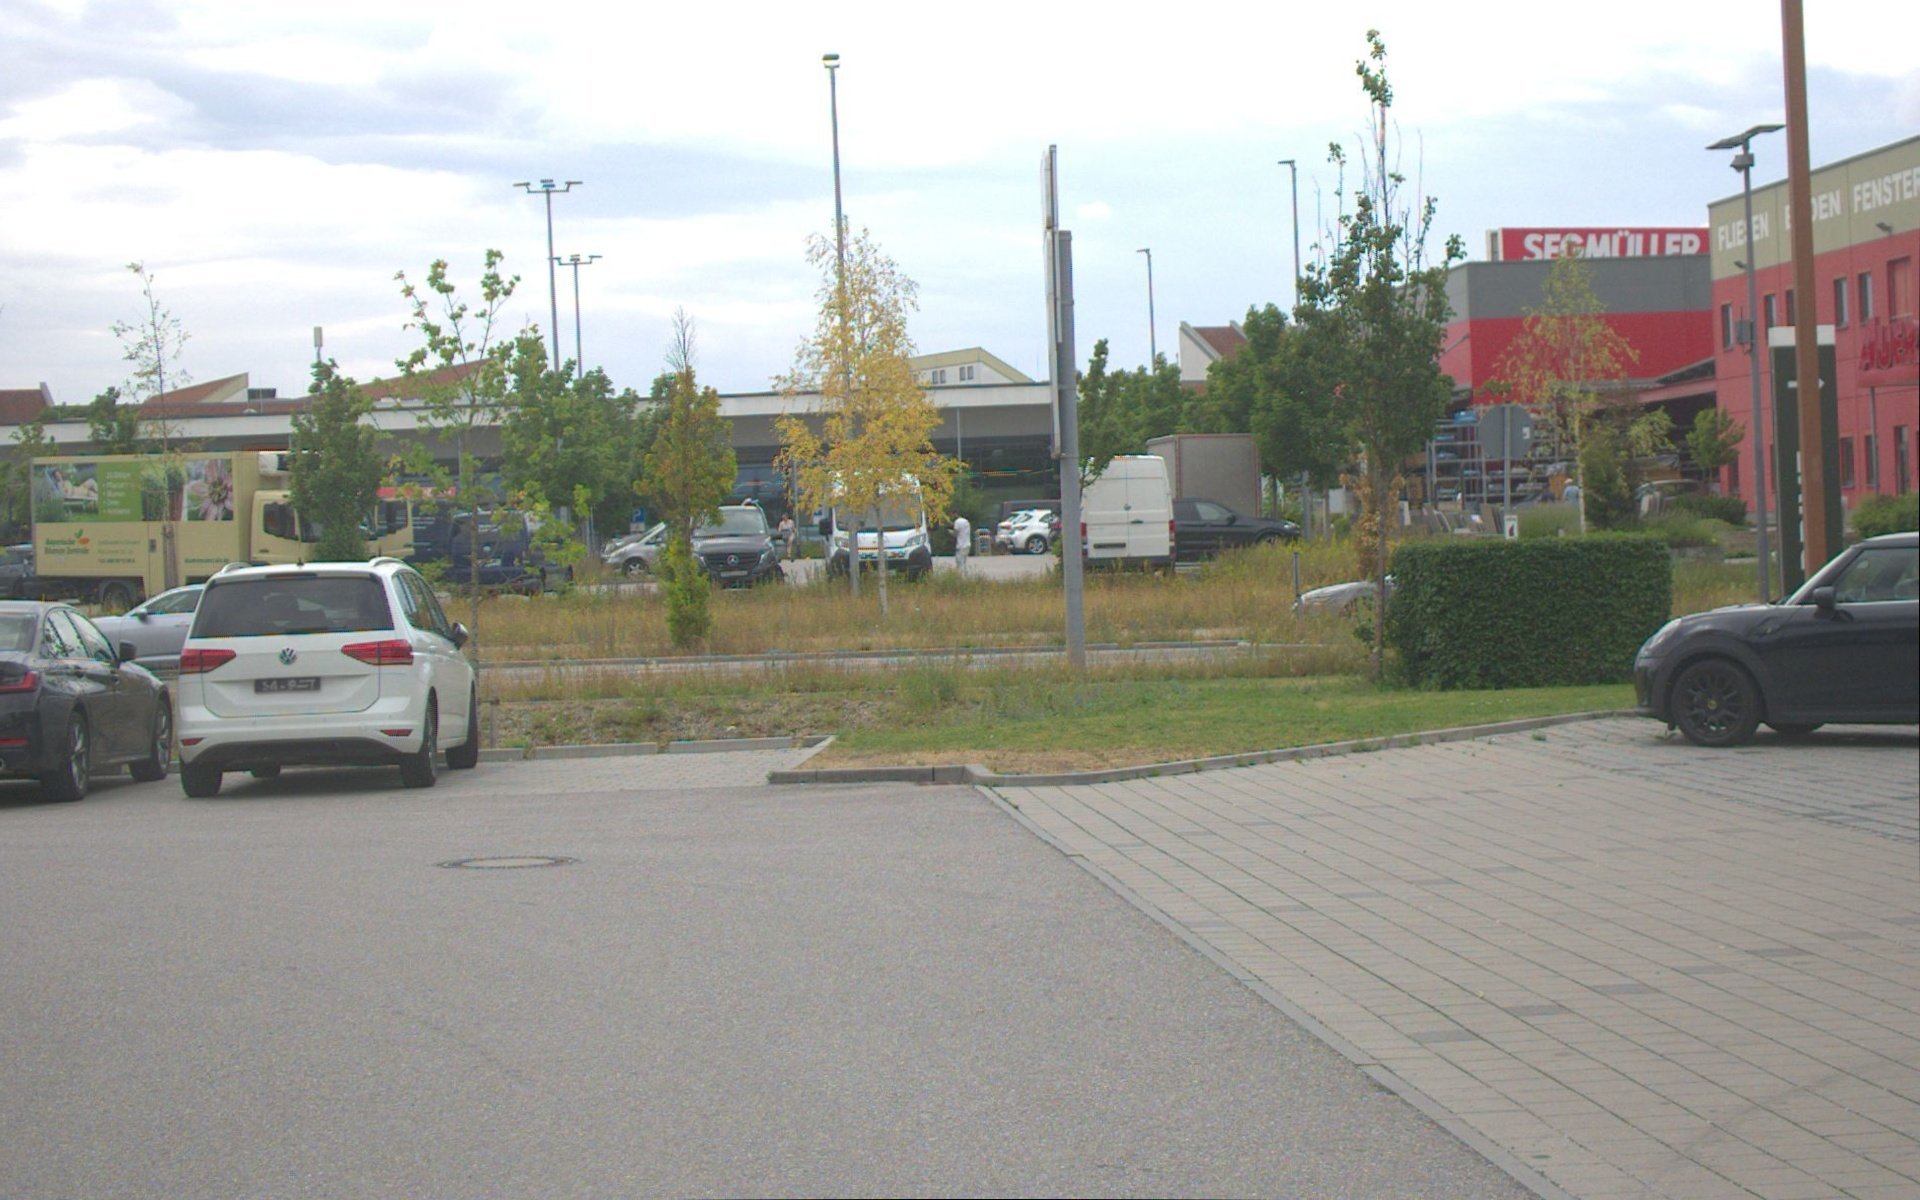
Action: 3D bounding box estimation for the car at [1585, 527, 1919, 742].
[{"bbox_3d":[6.452,0.211,23.502,3.925,1.407,1.684,0,1,34],"label":"car"}]

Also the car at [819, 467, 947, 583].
[{"bbox_3d":[-1.654,-1.616,71.495,2.408,2.206,6.061,-2,3,-3],"label":"car"}]

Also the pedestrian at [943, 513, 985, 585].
[{"bbox_3d":[0.075,-1.051,70.936,0.785,1.424,0.978,-2,2,-2],"label":"pedestrian"}]

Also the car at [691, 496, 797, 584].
[{"bbox_3d":[-4.454,-1.280,71.118,2.071,1.633,5.071,-2,3,-3],"label":"car"}]

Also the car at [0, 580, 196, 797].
[{"bbox_3d":[-7.137,0.647,25.572,1.941,1.461,4.516,-2,-1,-1],"label":"car"}]

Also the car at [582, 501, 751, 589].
[{"bbox_3d":[-7.395,-1.397,86.395,3.986,2.006,2.001,-3,3,-10],"label":"car"}]

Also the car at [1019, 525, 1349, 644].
[{"bbox_3d":[3.335,-0.247,51.787,4.838,1.546,1.802,-2,3,1],"label":"car"}]

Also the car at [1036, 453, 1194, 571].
[{"bbox_3d":[3.165,-1.890,71.591,2.337,2.259,6.508,-2,3,-5],"label":"car"}]

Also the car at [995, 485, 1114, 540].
[{"bbox_3d":[3.231,-3.025,118.467,3.987,1.730,1.935,-2,3,0],"label":"car"}]

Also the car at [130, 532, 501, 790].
[{"bbox_3d":[-4.691,0.437,25.652,1.986,1.707,4.372,-2,-1,-1],"label":"car"}]

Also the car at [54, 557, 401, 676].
[{"bbox_3d":[-11.098,0.238,52.302,4.838,1.546,1.802,-2,3,-1],"label":"car"}]

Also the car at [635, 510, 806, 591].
[{"bbox_3d":[-5.711,-1.205,82.210,3.986,1.732,1.891,-2,3,-3],"label":"car"}]

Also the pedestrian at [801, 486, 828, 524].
[{"bbox_3d":[-5.536,-3.617,130.707,0.651,1.424,0.798,-4,3,-40],"label":"pedestrian"}]

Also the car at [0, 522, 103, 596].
[{"bbox_3d":[-24.410,-1.017,88.220,4.306,1.765,2.000,-2,3,-3],"label":"car"}]

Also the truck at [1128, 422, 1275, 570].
[{"bbox_3d":[6.431,-2.858,92.639,2.647,3.730,8.258,-2,3,-4],"label":"truck"}]

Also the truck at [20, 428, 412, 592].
[{"bbox_3d":[-15.730,-1.863,72.373,8.421,3.185,3.024,0,3,35],"label":"truck"}]

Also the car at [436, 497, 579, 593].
[{"bbox_3d":[-9.405,-1.154,71.881,2.071,1.878,5.070,-1,1,3],"label":"car"}]

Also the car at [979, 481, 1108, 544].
[{"bbox_3d":[2.651,-2.814,109.830,3.987,1.831,2.000,-2,3,0],"label":"car"}]
